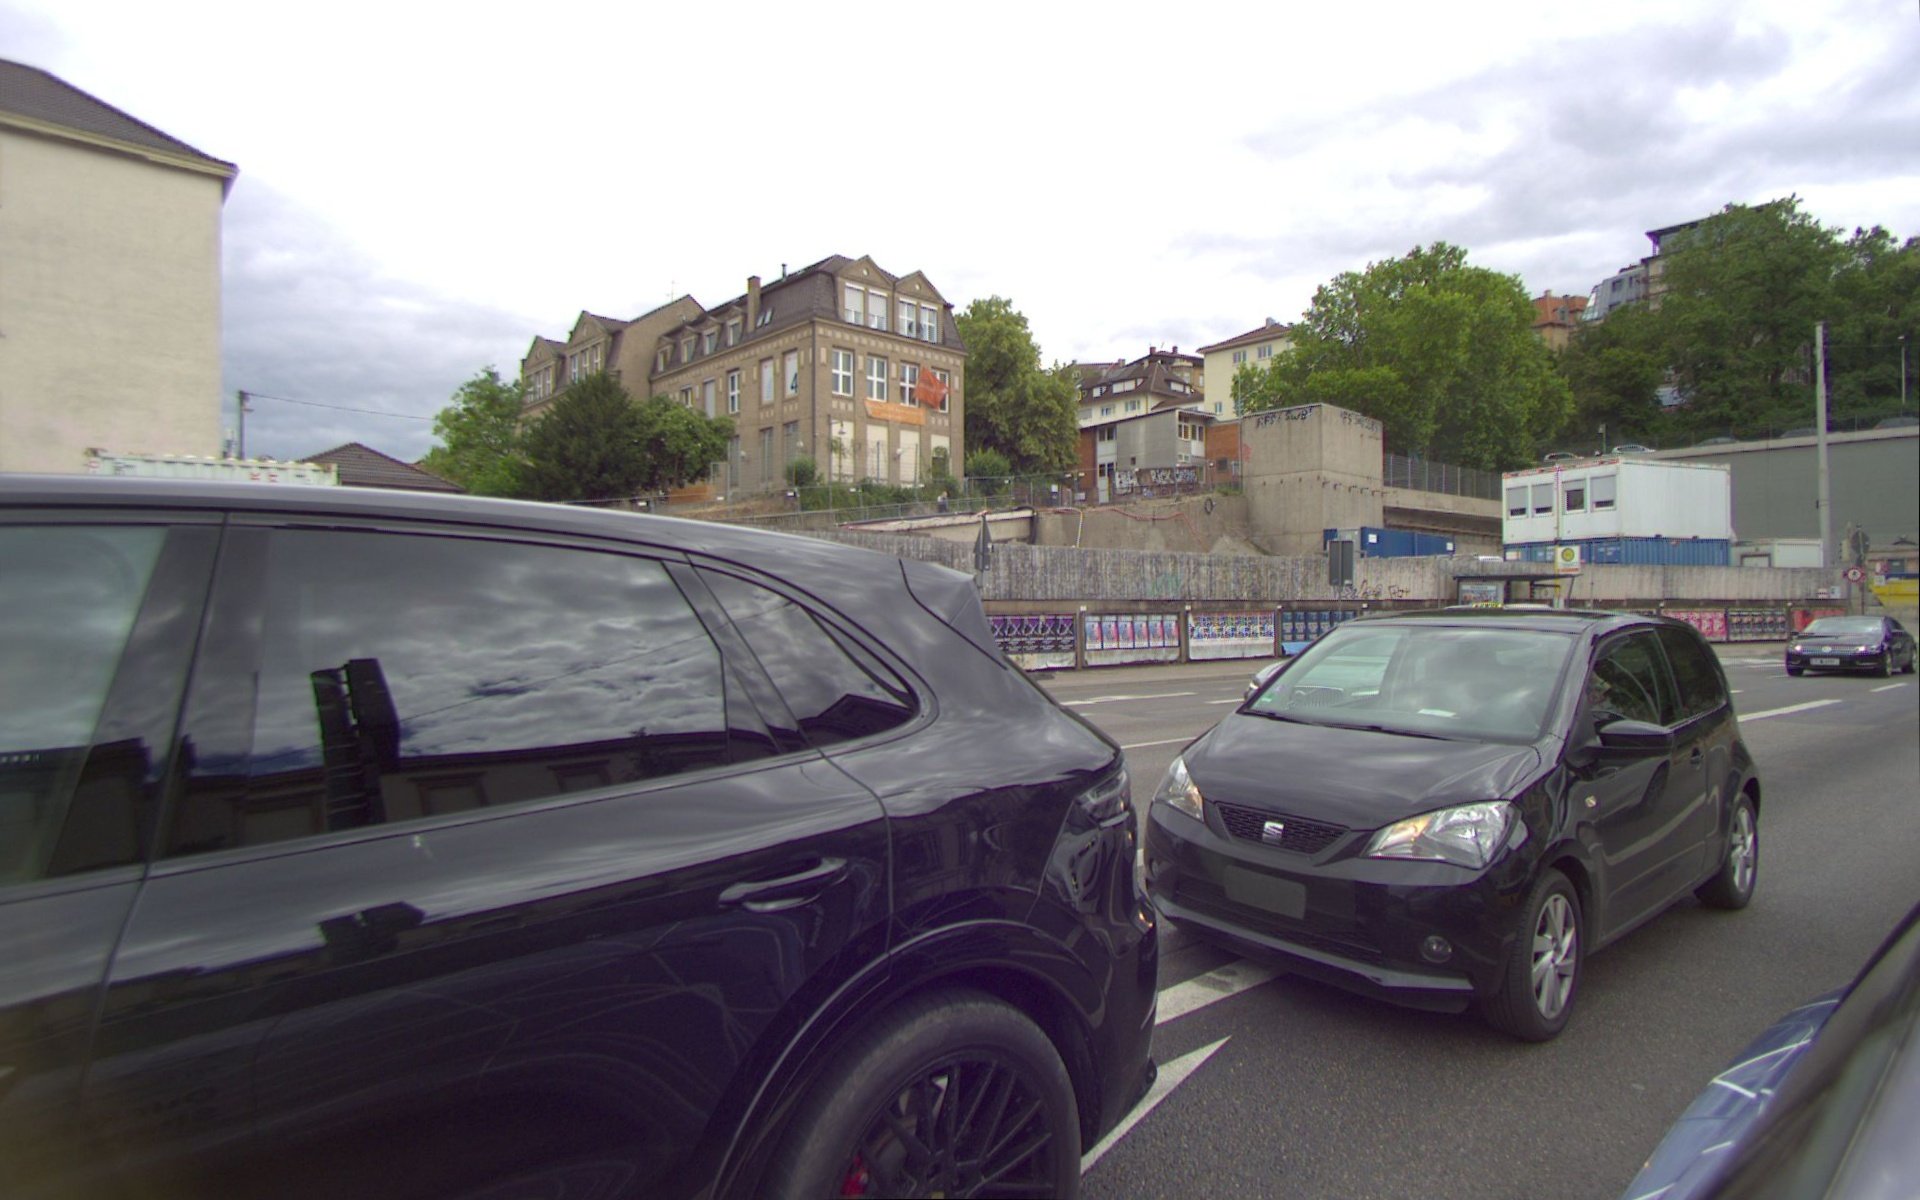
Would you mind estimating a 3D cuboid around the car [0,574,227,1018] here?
[{"bbox_3d":[-4.881,0.696,3.415,3.812,1.563,1.667,0,-1,-40],"label":"car"}]

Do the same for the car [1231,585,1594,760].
[{"bbox_3d":[5.191,0.646,11.328,4.570,1.591,1.826,0,0,-39],"label":"car"}]

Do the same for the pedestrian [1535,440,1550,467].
[{"bbox_3d":[48.042,-12.045,83.466,0.891,2.039,0.849,0,-1,-45],"label":"pedestrian"}]

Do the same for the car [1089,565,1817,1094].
[{"bbox_3d":[2.530,0.664,4.781,3.812,1.515,1.667,0,-1,-40],"label":"car"}]

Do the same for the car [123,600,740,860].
[{"bbox_3d":[-3.865,0.767,7.800,3.927,1.498,1.663,0,-1,-38],"label":"car"}]

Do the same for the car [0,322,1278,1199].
[{"bbox_3d":[-1.620,0.587,1.696,4.552,1.707,1.959,0,-1,-40],"label":"car"}]

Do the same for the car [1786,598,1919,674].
[{"bbox_3d":[20.998,0.762,23.491,4.465,1.579,1.705,0,0,-36],"label":"car"}]

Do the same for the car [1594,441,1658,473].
[{"bbox_3d":[53.573,-11.493,81.432,3.988,2.039,1.968,0,1,45],"label":"car"}]

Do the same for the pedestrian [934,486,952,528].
[{"bbox_3d":[-0.840,-4.698,51.273,0.656,2.039,0.644,0,0,-45],"label":"pedestrian"}]

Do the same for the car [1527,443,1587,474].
[{"bbox_3d":[50.257,-11.901,85.221,3.988,2.039,1.968,0,1,45],"label":"car"}]

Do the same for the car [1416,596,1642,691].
[{"bbox_3d":[10.781,0.738,19.094,4.460,1.579,1.707,0,0,-31],"label":"car"}]

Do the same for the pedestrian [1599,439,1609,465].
[{"bbox_3d":[54.041,-12.438,84.933,0.568,2.039,0.580,0,0,-44],"label":"pedestrian"}]
